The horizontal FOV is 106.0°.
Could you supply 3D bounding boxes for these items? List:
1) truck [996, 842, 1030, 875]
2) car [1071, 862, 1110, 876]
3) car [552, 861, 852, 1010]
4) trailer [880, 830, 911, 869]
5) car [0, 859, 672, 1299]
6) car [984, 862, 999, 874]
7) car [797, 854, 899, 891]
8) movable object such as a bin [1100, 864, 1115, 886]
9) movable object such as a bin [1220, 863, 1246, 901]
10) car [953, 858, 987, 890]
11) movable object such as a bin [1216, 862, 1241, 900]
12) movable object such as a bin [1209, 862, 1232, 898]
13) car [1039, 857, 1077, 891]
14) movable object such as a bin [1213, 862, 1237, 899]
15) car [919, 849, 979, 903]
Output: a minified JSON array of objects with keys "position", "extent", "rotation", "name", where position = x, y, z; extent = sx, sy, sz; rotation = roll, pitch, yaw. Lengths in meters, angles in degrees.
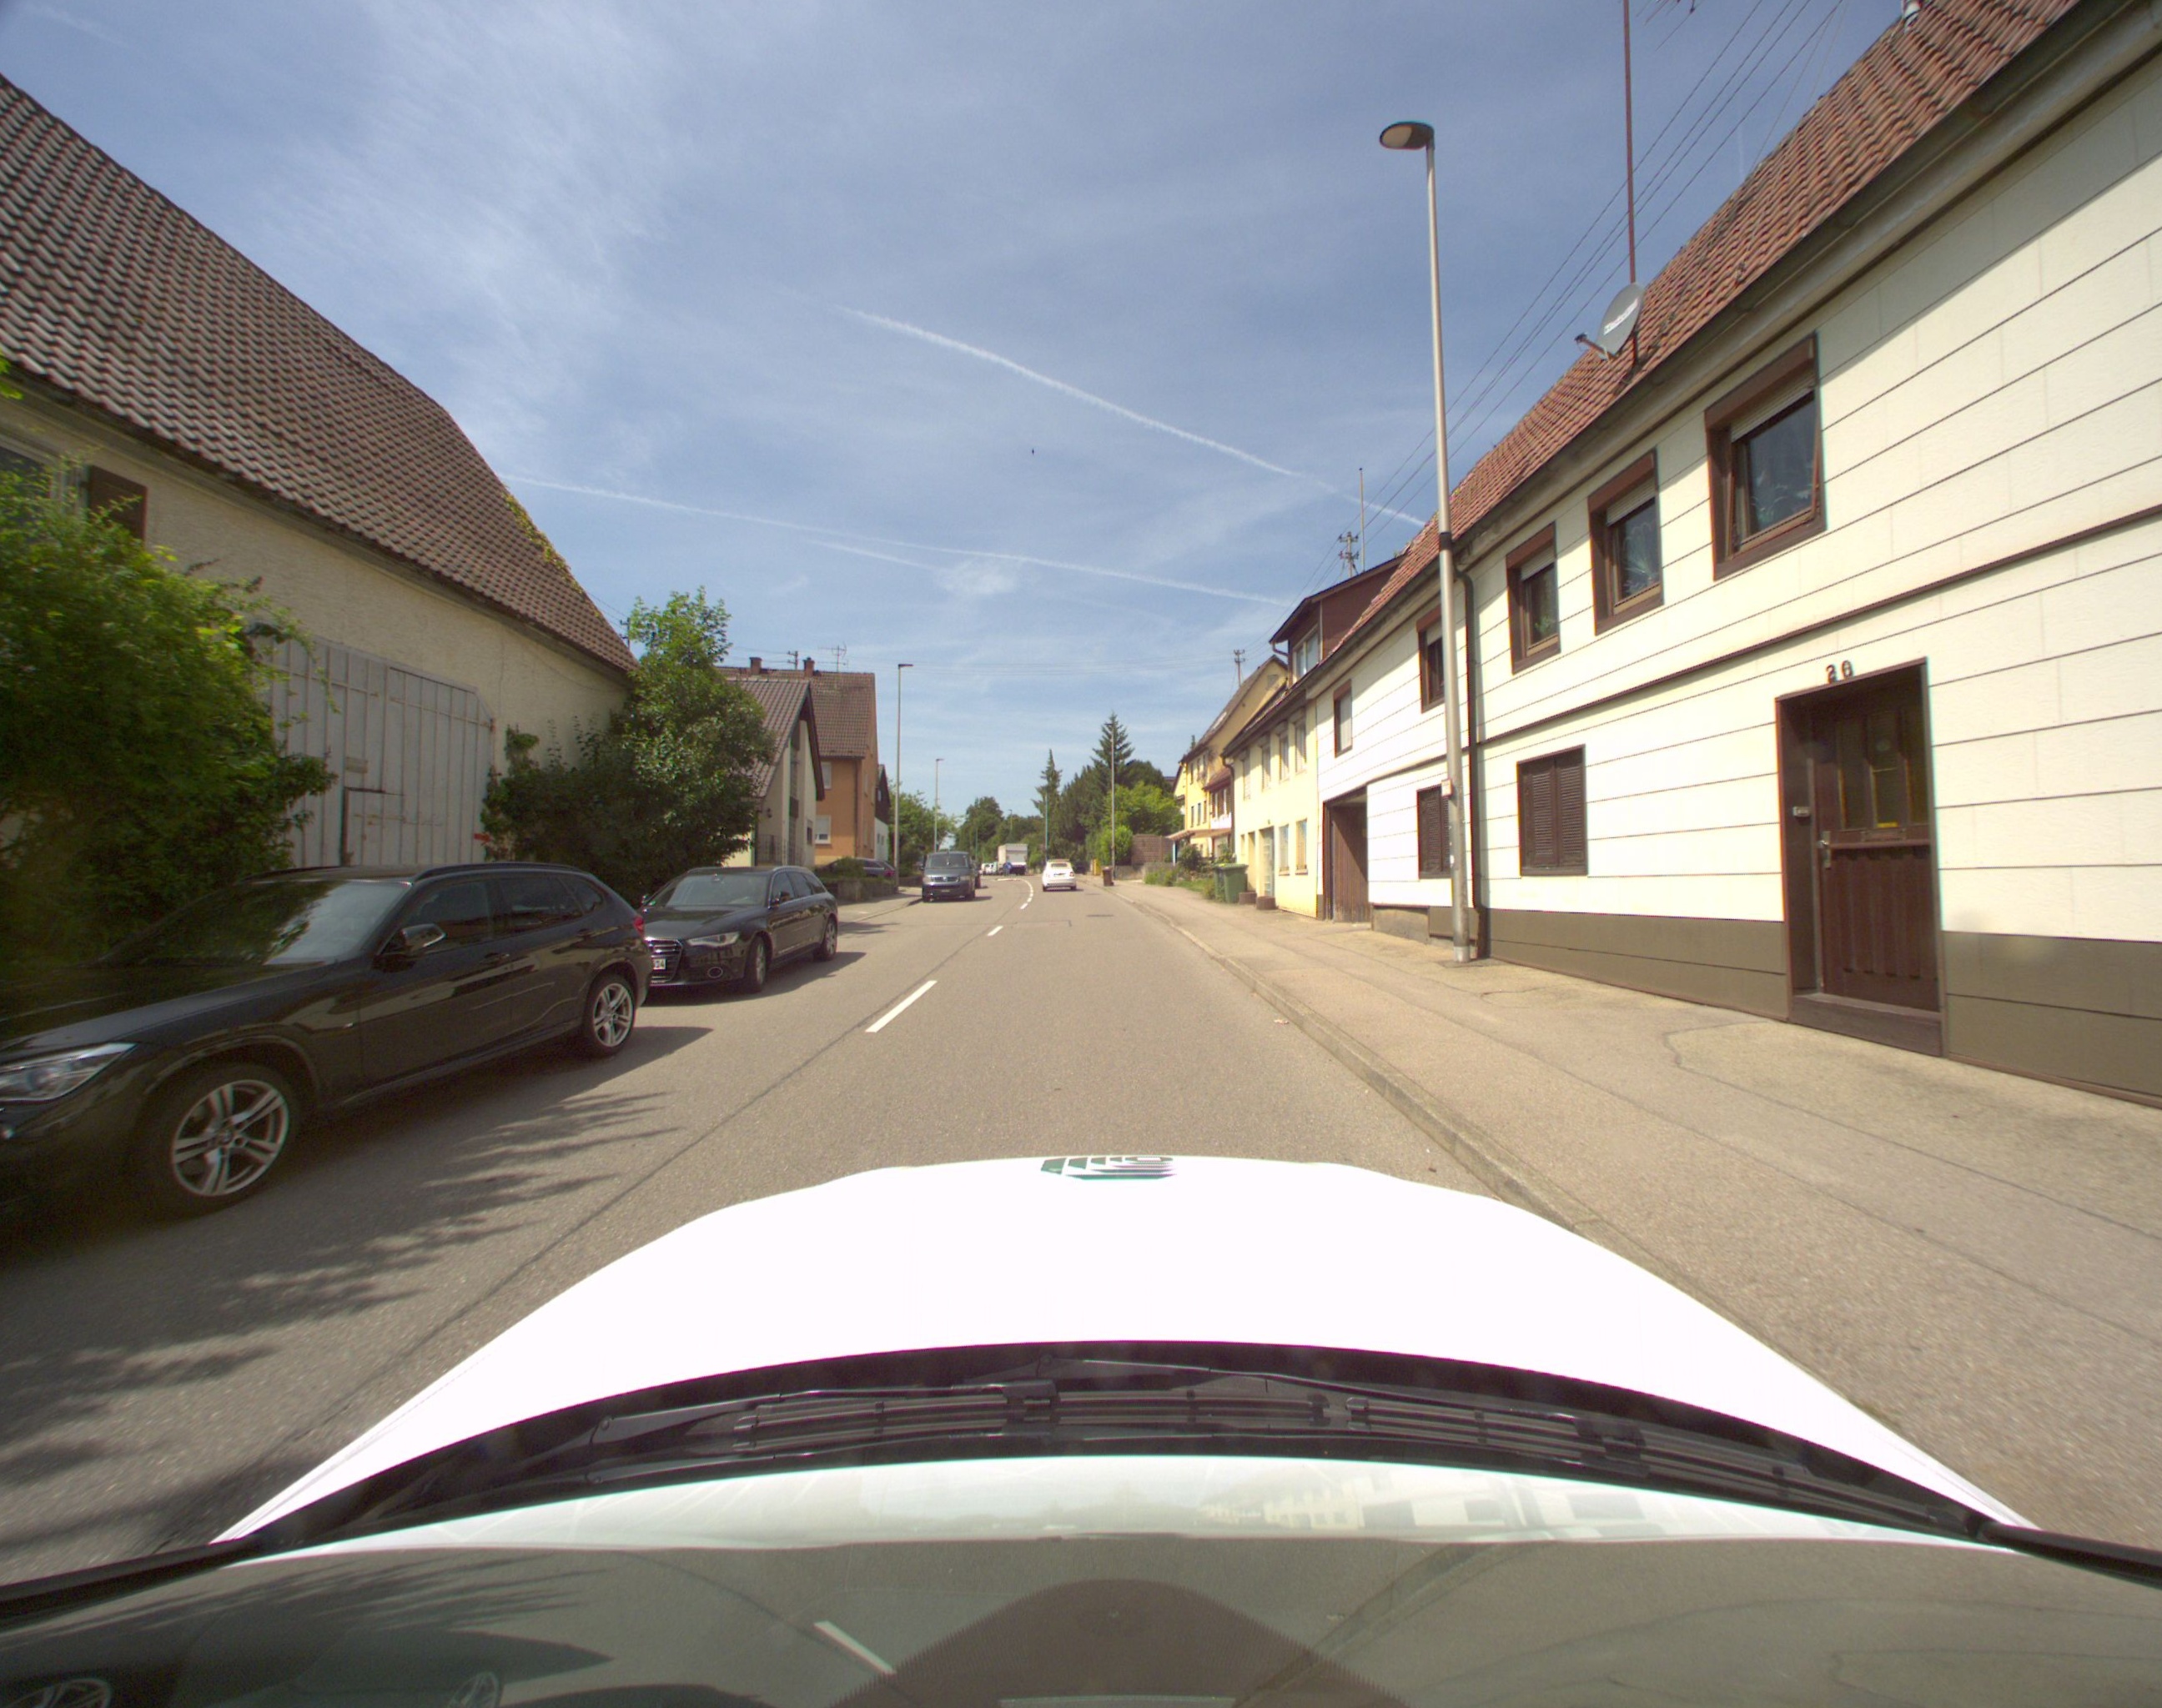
[{"position":[-8.144,0.601,96.623],"extent":[3.071,3.774,7.834],"rotation":[-1,-1,-12],"name":"truck"},{"position":[0.962,1.570,85.800],"extent":[3.932,1.458,1.653],"rotation":[-1,-1,-9],"name":"car"},{"position":[-4.612,0.864,10.865],"extent":[1.814,1.473,4.773],"rotation":[-1,0,-1],"name":"car"},{"position":[-14.078,-0.283,62.030],"extent":[1.711,2.849,6.156],"rotation":[0,-1,-8],"name":"trailer"},{"position":[-4.612,0.830,5.079],"extent":[1.748,1.521,4.304],"rotation":[-1,0,3],"name":"car"},{"position":[-12.839,1.947,116.950],"extent":[1.537,1.670,3.980],"rotation":[1,0,-15],"name":"car"},{"position":[-10.679,0.840,37.613],"extent":[4.228,1.405,1.815],"rotation":[3,-1,-10],"name":"car"},{"position":[1.324,1.042,40.806],"extent":[0.490,1.033,0.551],"rotation":[-5,-1,19],"name":"movable object such as a bin"},{"position":[4.284,0.779,22.985],"extent":[0.545,1.033,0.551],"rotation":[-3,0,-2],"name":"movable object such as a bin"},{"position":[-6.152,1.099,45.459],"extent":[1.767,1.636,4.277],"rotation":[-1,0,-7],"name":"car"},{"position":[4.260,0.780,23.555],"extent":[0.545,1.033,0.551],"rotation":[-3,0,-2],"name":"movable object such as a bin"},{"position":[4.232,0.785,24.720],"extent":[0.545,1.033,0.551],"rotation":[-3,0,-2],"name":"movable object such as a bin"},{"position":[-1.179,0.956,40.301],"extent":[1.721,1.560,3.994],"rotation":[-1,-1,-4],"name":"car"},{"position":[4.262,0.786,24.126],"extent":[0.545,1.033,0.551],"rotation":[-3,0,-2],"name":"movable object such as a bin"},{"position":[-5.214,0.850,32.766],"extent":[1.887,1.937,4.977],"rotation":[-2,-1,-5],"name":"car"}]
